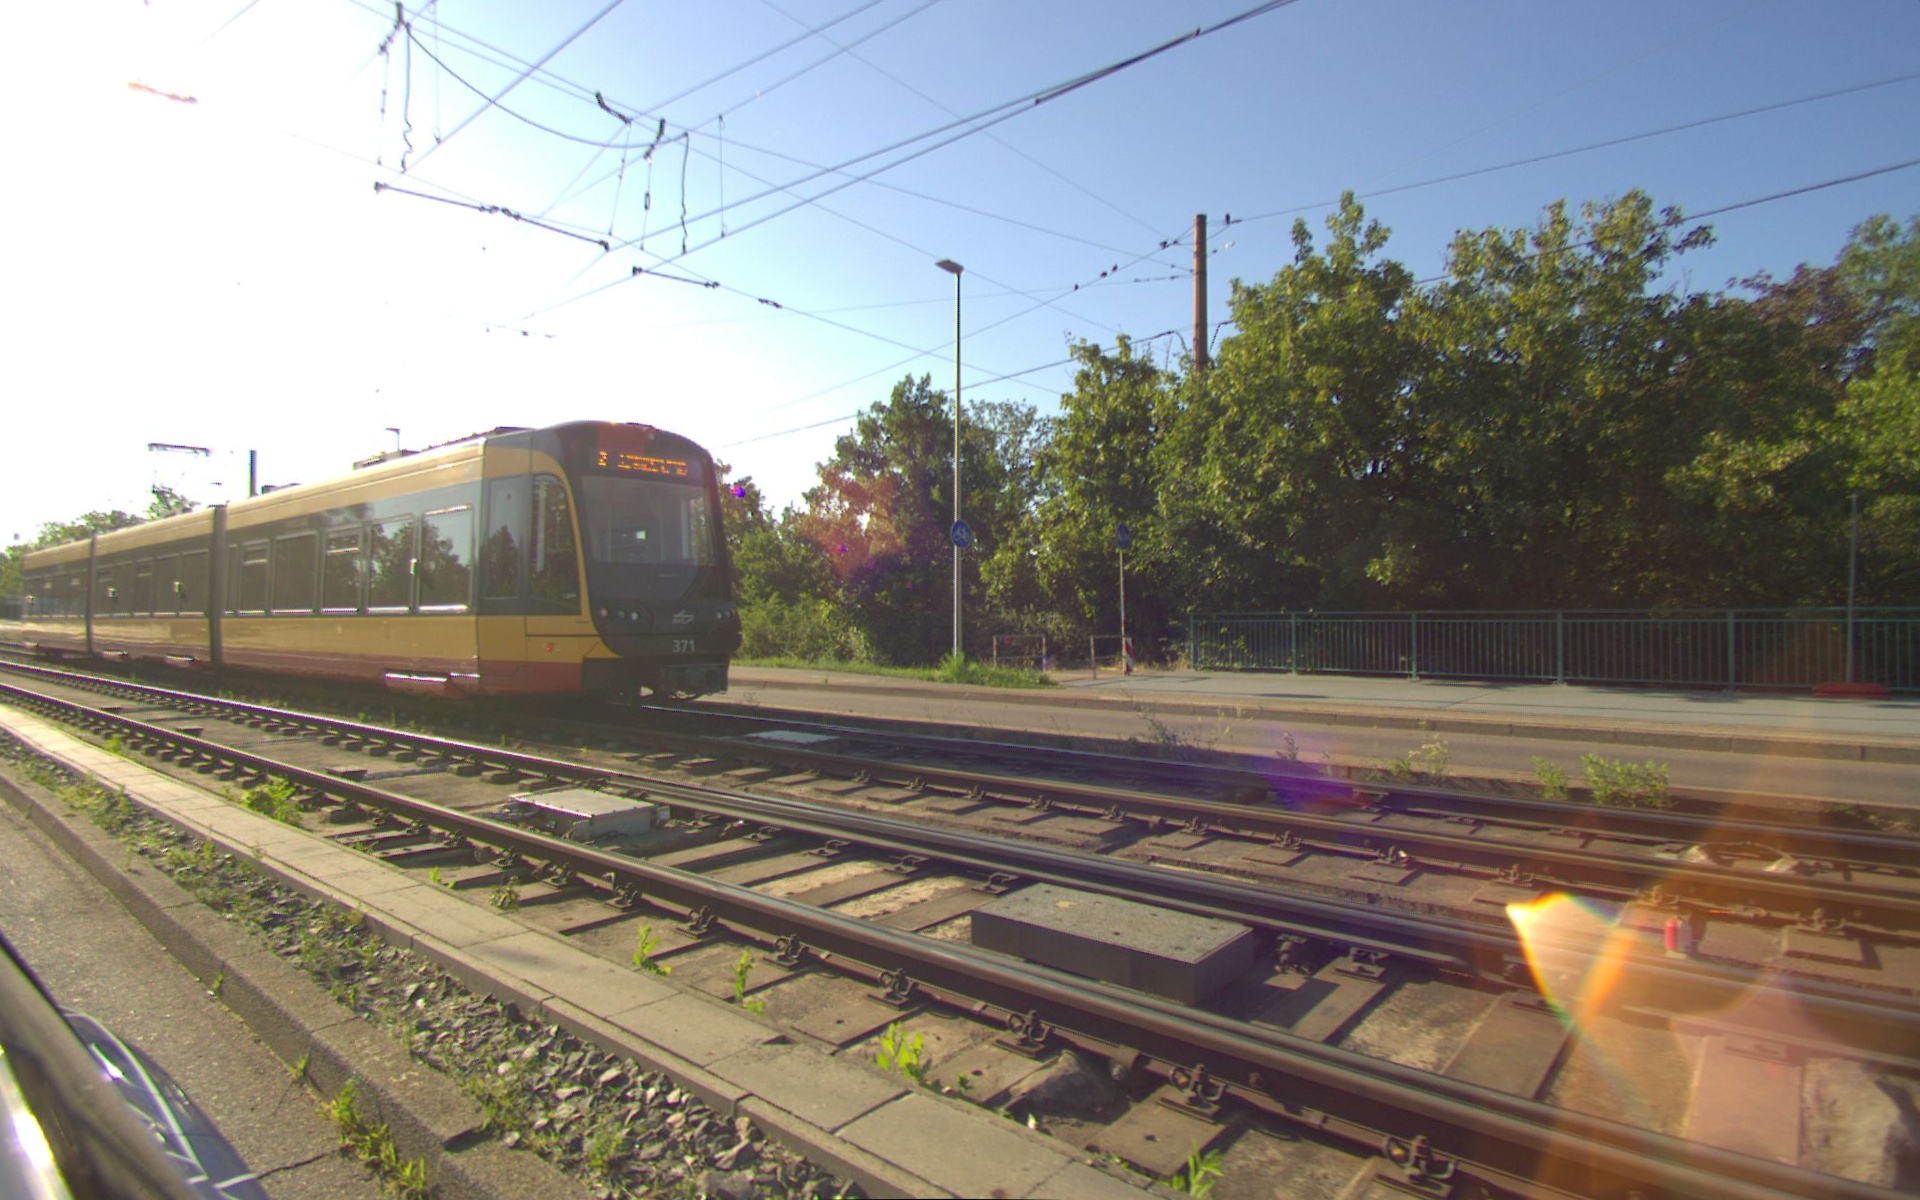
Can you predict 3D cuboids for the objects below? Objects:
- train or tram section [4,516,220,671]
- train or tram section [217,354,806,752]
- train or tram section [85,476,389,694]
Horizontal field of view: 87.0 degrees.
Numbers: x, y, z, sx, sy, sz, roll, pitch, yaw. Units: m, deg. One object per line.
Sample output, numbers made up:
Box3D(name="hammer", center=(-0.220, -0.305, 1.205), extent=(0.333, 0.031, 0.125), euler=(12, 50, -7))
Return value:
Box3D(name="train or tram section", center=(-26.413, -0.074, 31.126), extent=(13.071, 3.930, 2.973), euler=(-1, -1, 41))
Box3D(name="train or tram section", center=(-7.628, -0.377, 15.247), extent=(12.692, 3.930, 2.947), euler=(-1, -1, 41))
Box3D(name="train or tram section", center=(-16.933, -0.187, 23.158), extent=(11.656, 3.930, 2.946), euler=(-1, -1, 41))
